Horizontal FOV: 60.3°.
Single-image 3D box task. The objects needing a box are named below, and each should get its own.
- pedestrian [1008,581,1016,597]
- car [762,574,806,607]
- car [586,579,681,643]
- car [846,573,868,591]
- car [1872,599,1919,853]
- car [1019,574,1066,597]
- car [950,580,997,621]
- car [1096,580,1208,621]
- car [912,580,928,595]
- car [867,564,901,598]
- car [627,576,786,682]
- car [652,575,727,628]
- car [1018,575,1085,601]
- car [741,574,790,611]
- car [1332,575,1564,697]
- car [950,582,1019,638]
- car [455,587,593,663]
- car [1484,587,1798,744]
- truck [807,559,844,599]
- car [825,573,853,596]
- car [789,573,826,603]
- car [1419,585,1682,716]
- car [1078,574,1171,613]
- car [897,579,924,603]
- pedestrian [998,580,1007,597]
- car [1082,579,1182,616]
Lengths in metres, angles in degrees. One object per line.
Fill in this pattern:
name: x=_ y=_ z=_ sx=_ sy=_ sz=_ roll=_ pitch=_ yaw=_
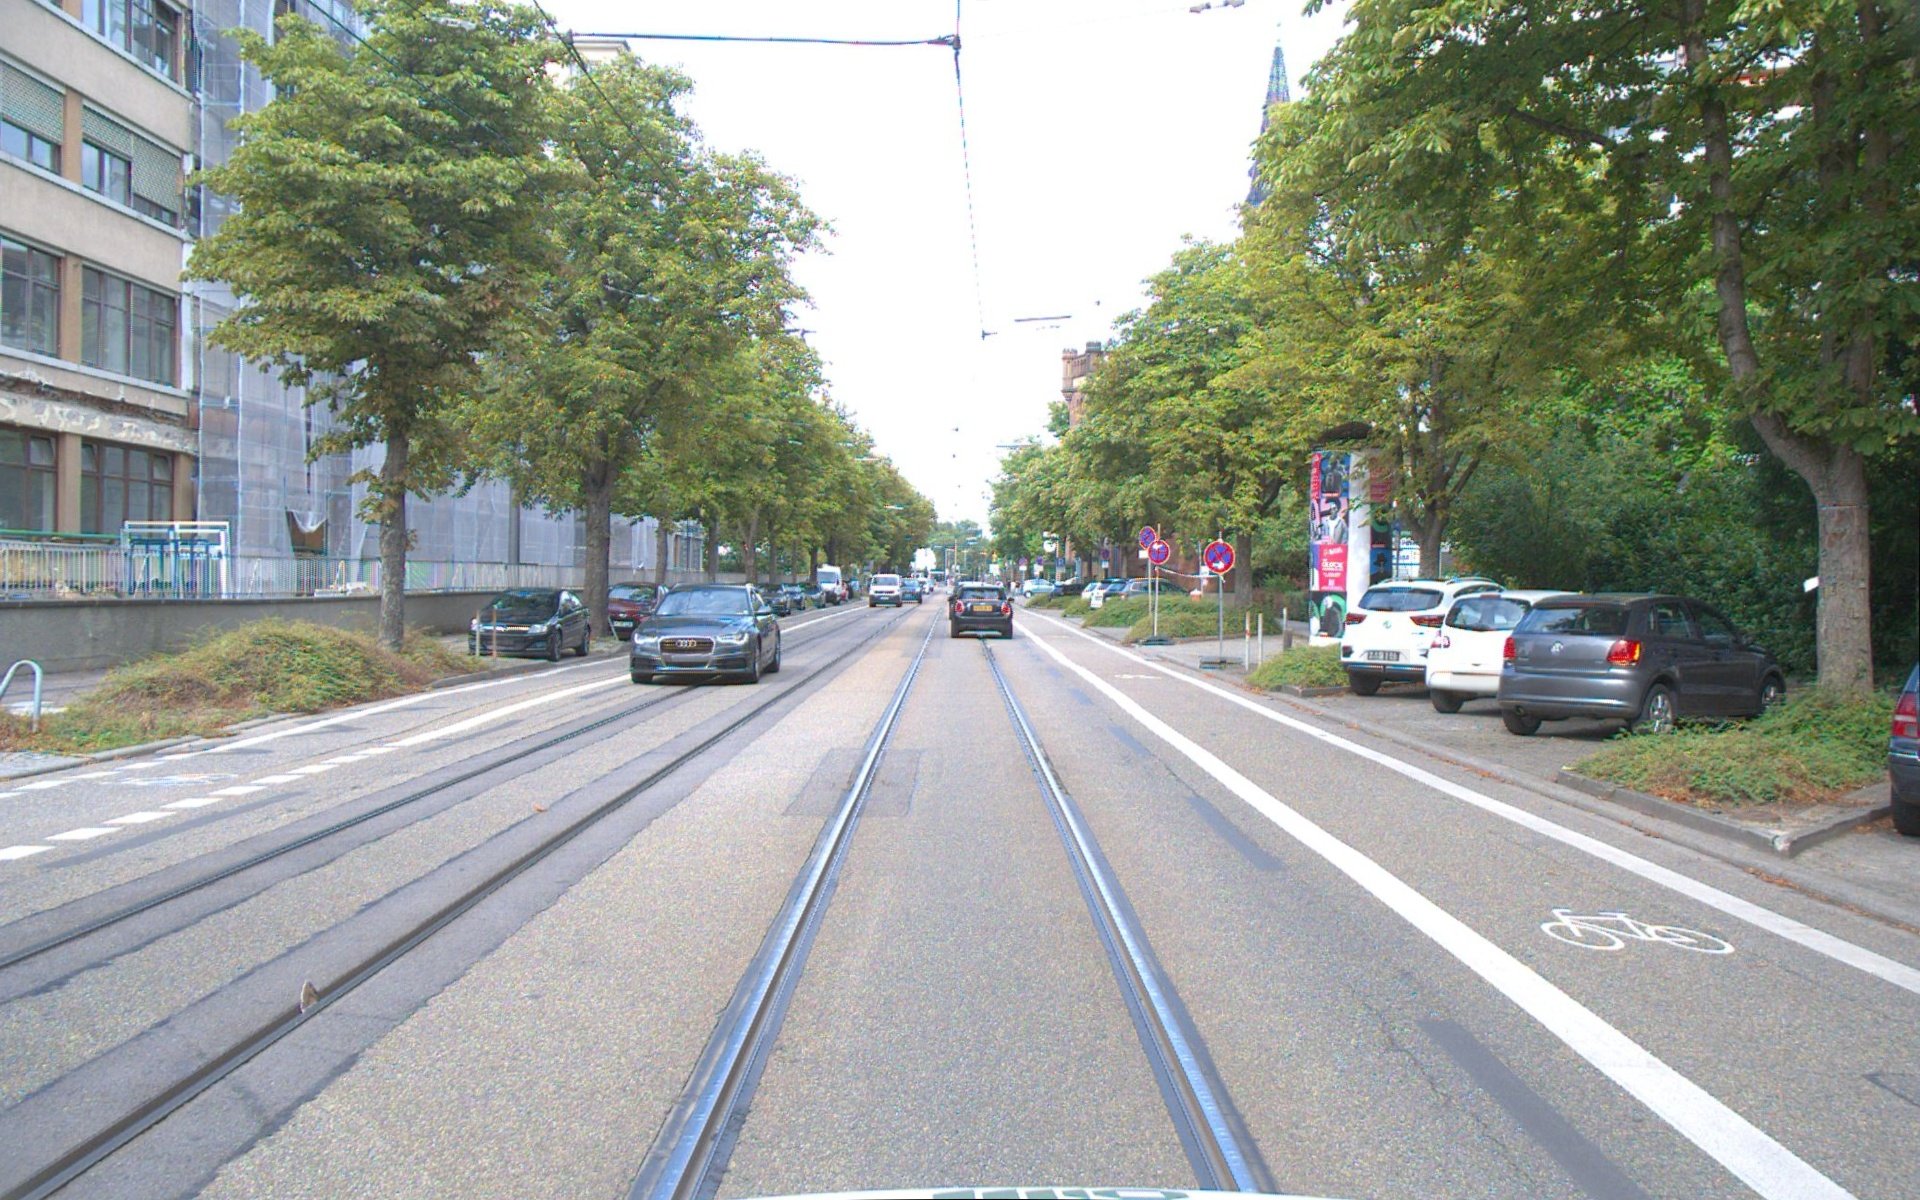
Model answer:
pedestrian: x=5.377 y=-1.162 z=170.563 sx=0.711 sy=1.674 sz=0.767 roll=2 pitch=1 yaw=10
car: x=-8.752 y=-0.498 z=82.512 sx=1.766 sy=1.611 sz=4.030 roll=0 pitch=1 yaw=-1
car: x=-8.577 y=0.256 z=43.717 sx=1.766 sy=1.611 sz=4.030 roll=0 pitch=1 yaw=-1
car: x=-9.369 y=-1.666 z=150.238 sx=1.766 sy=1.611 sz=4.030 roll=0 pitch=1 yaw=-1
car: x=7.321 y=0.766 z=10.648 sx=1.613 sy=1.484 sz=3.713 roll=1 pitch=1 yaw=44
car: x=7.304 y=-1.310 z=146.280 sx=3.908 sy=1.944 sz=1.999 roll=1 pitch=1 yaw=-3
car: x=0.522 y=0.013 z=65.514 sx=1.757 sy=1.495 sz=4.000 roll=2 pitch=1 yaw=0
car: x=7.197 y=0.017 z=62.163 sx=3.908 sy=1.449 sz=1.884 roll=1 pitch=1 yaw=-4
car: x=-4.353 y=-1.407 z=181.102 sx=1.766 sy=1.650 sz=4.484 roll=0 pitch=1 yaw=-1
car: x=-4.316 y=-1.095 z=94.084 sx=1.766 sy=1.855 sz=4.484 roll=0 pitch=1 yaw=-1
car: x=-3.808 y=0.378 z=25.554 sx=1.797 sy=1.473 sz=4.553 roll=1 pitch=1 yaw=-1
car: x=-8.568 y=0.027 z=52.587 sx=1.766 sy=1.611 sz=4.030 roll=0 pitch=1 yaw=-1
car: x=5.520 y=-0.729 z=100.081 sx=3.908 sy=1.534 sz=1.884 roll=1 pitch=1 yaw=-4
car: x=-8.625 y=-0.349 z=73.555 sx=1.766 sy=1.611 sz=4.030 roll=0 pitch=1 yaw=-1
car: x=6.982 y=0.472 z=23.549 sx=3.414 sy=1.600 sz=1.538 roll=0 pitch=1 yaw=-40
car: x=0.635 y=0.240 z=45.930 sx=1.757 sy=1.447 sz=4.000 roll=1 pitch=1 yaw=-1
car: x=-8.699 y=0.462 z=33.324 sx=1.766 sy=1.398 sz=4.030 roll=0 pitch=1 yaw=-1
car: x=7.214 y=0.620 z=17.402 sx=3.501 sy=1.468 sz=1.601 roll=0 pitch=1 yaw=-40
truck: x=-8.684 y=-1.343 z=106.998 sx=2.029 sy=2.513 sz=4.898 roll=0 pitch=1 yaw=-1
car: x=-8.696 y=-1.111 z=119.502 sx=1.766 sy=1.611 sz=4.030 roll=0 pitch=1 yaw=-1
car: x=-8.646 y=-0.691 z=93.919 sx=1.766 sy=1.611 sz=4.030 roll=0 pitch=1 yaw=-1
car: x=7.342 y=0.568 z=20.454 sx=3.414 sy=1.468 sz=1.538 roll=0 pitch=1 yaw=-40
car: x=7.377 y=-0.294 z=74.469 sx=3.908 sy=1.655 sz=1.884 roll=1 pitch=1 yaw=-4
car: x=-3.404 y=-0.629 z=113.706 sx=1.766 sy=1.650 sz=4.484 roll=0 pitch=1 yaw=-1
pedestrian: x=4.327 y=-1.156 z=168.081 sx=0.711 sy=1.674 sz=0.767 roll=2 pitch=1 yaw=10
car: x=7.172 y=-0.103 z=69.064 sx=3.908 sy=1.449 sz=1.884 roll=1 pitch=1 yaw=-4
